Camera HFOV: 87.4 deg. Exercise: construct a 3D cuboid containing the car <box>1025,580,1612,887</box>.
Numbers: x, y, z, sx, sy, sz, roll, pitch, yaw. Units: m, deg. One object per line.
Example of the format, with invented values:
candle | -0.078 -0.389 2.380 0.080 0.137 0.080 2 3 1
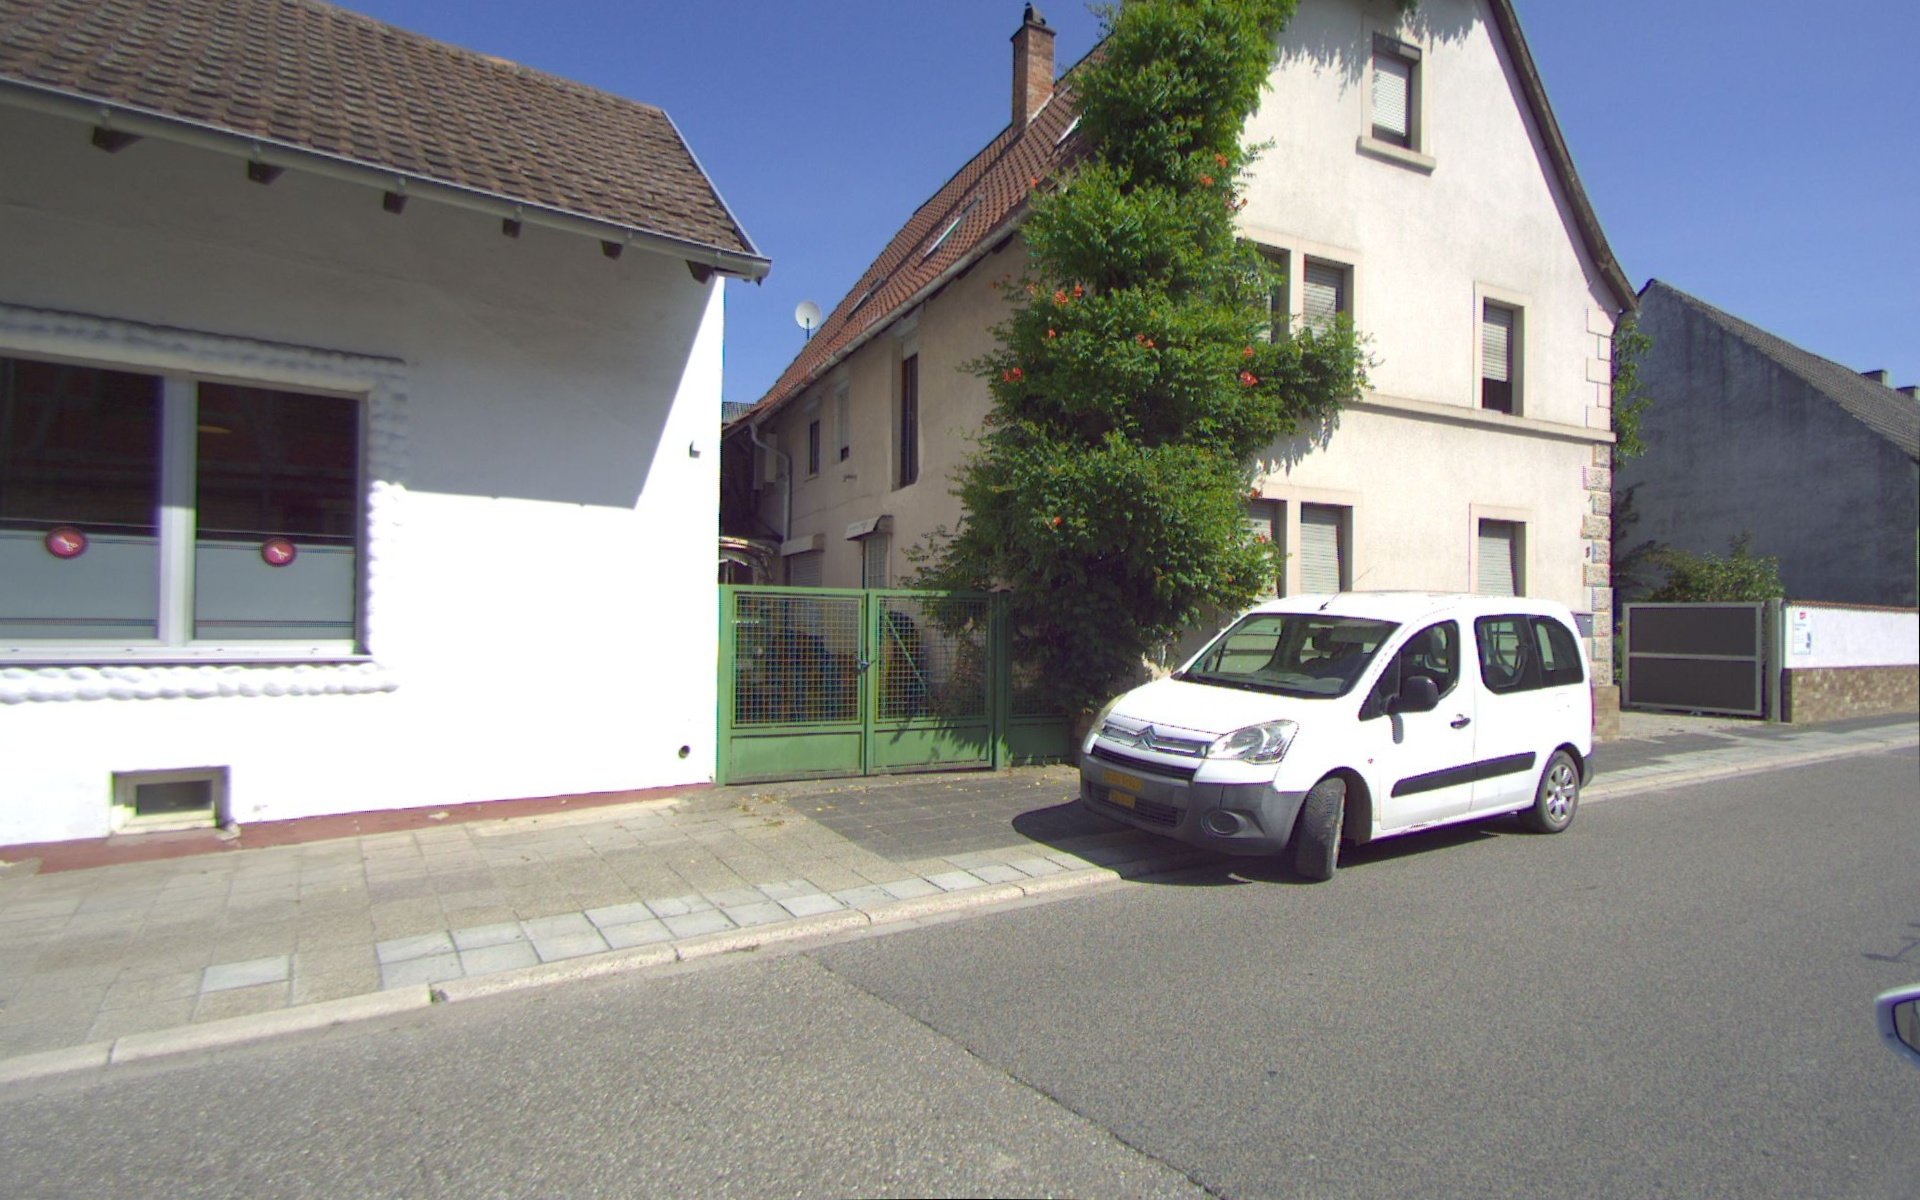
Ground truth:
car | 2.785 0.784 7.451 4.382 1.669 1.844 1 -1 -33
